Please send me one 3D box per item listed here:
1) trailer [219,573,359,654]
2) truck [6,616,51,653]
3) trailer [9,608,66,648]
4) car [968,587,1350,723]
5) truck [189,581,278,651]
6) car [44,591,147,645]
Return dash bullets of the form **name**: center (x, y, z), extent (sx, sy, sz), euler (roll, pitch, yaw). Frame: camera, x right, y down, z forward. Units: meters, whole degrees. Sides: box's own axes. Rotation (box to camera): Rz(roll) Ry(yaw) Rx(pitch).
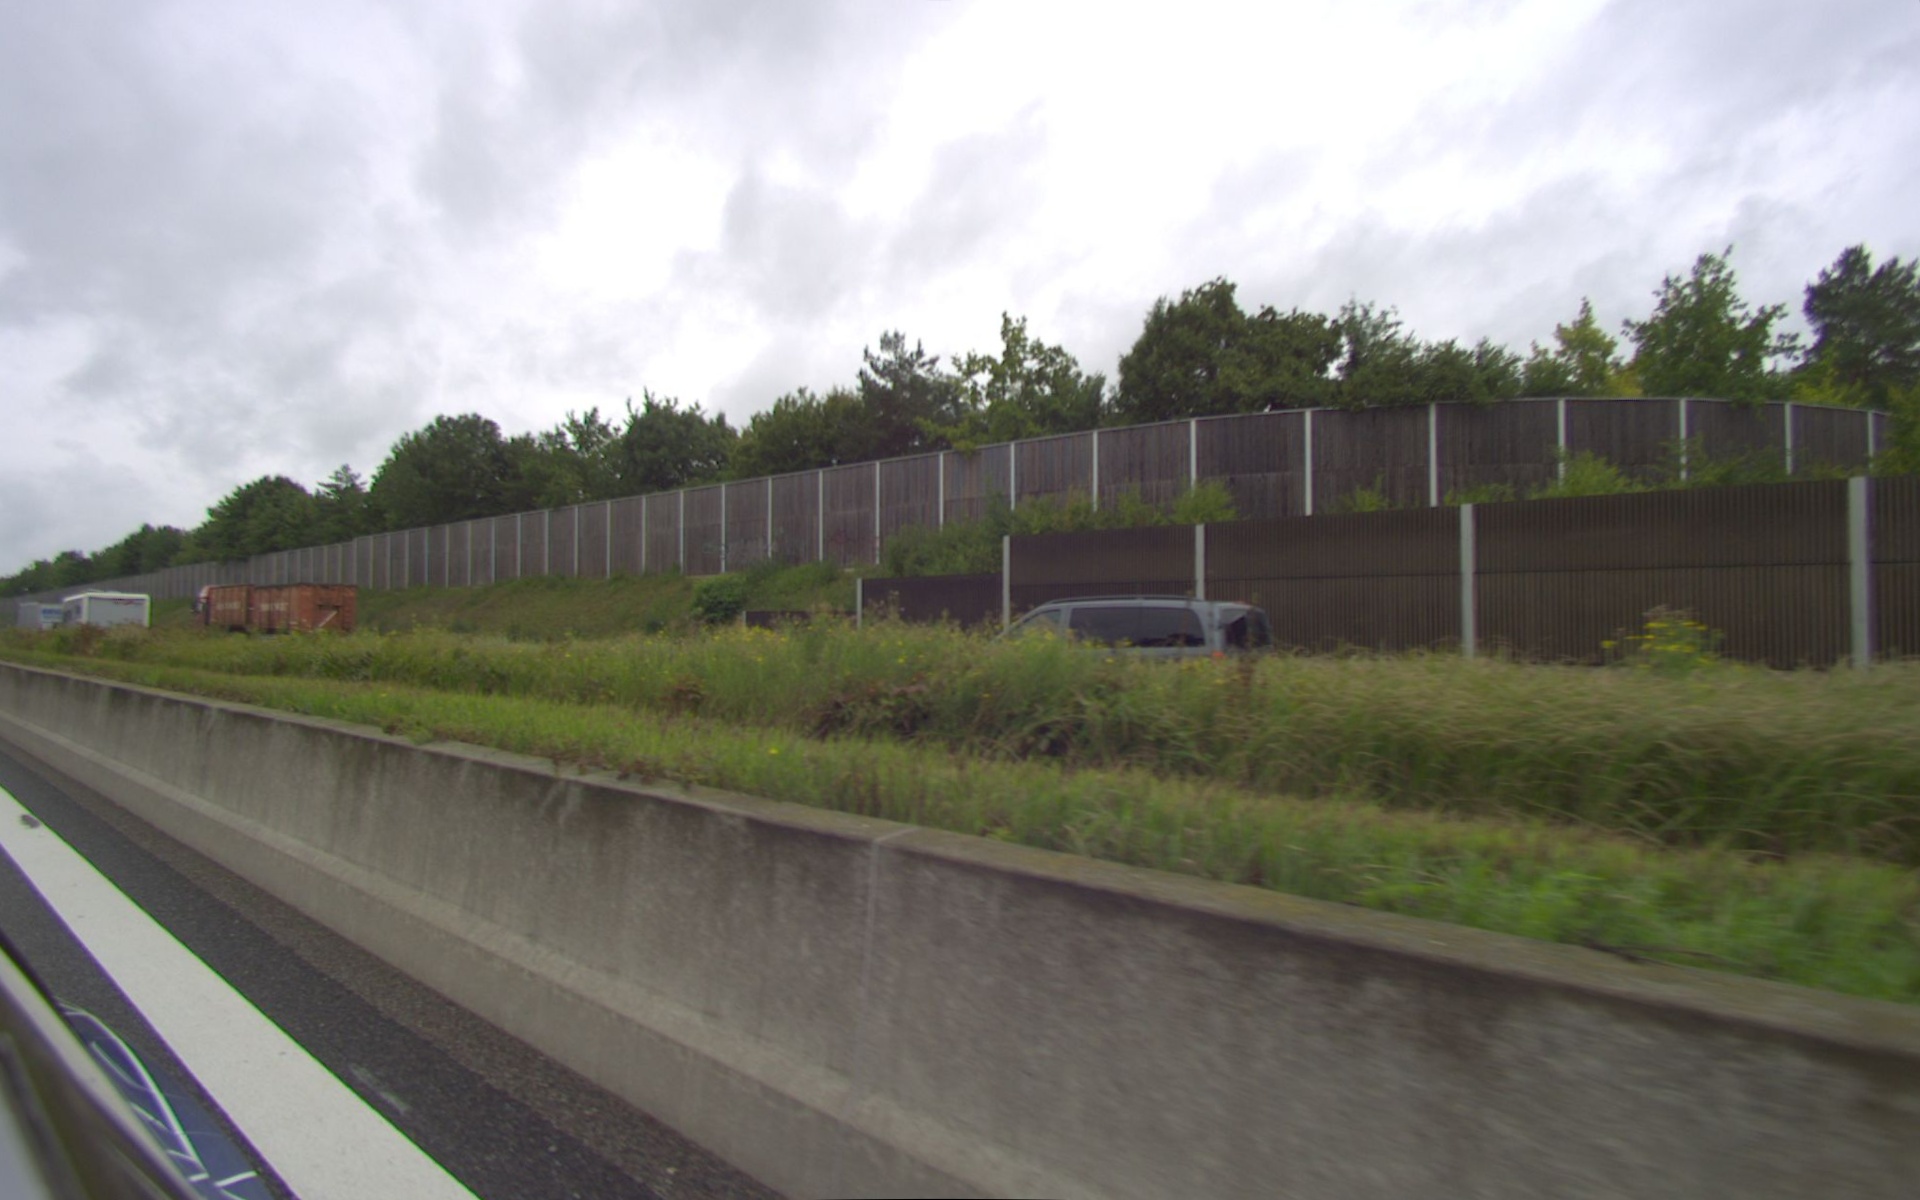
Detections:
- **trailer**: center (-34.395, 0.762, 51.548), extent (12.556, 3.712, 2.698), euler (-2, -2, 41)
- **truck**: center (-99.800, 3.720, 108.363), extent (5.886, 3.825, 2.859), euler (-2, -3, 41)
- **trailer**: center (-95.730, 2.923, 104.905), extent (12.436, 3.966, 2.873), euler (-2, -3, 41)
- **car**: center (2.566, 0.665, 13.822), extent (4.767, 1.552, 1.973), euler (-1, -1, 41)
- **truck**: center (-41.378, 0.889, 57.568), extent (6.477, 3.735, 2.668), euler (-1, 0, 41)
- **car**: center (-38.805, 0.826, 45.332), extent (7.720, 2.209, 2.349), euler (-1, -2, 41)
